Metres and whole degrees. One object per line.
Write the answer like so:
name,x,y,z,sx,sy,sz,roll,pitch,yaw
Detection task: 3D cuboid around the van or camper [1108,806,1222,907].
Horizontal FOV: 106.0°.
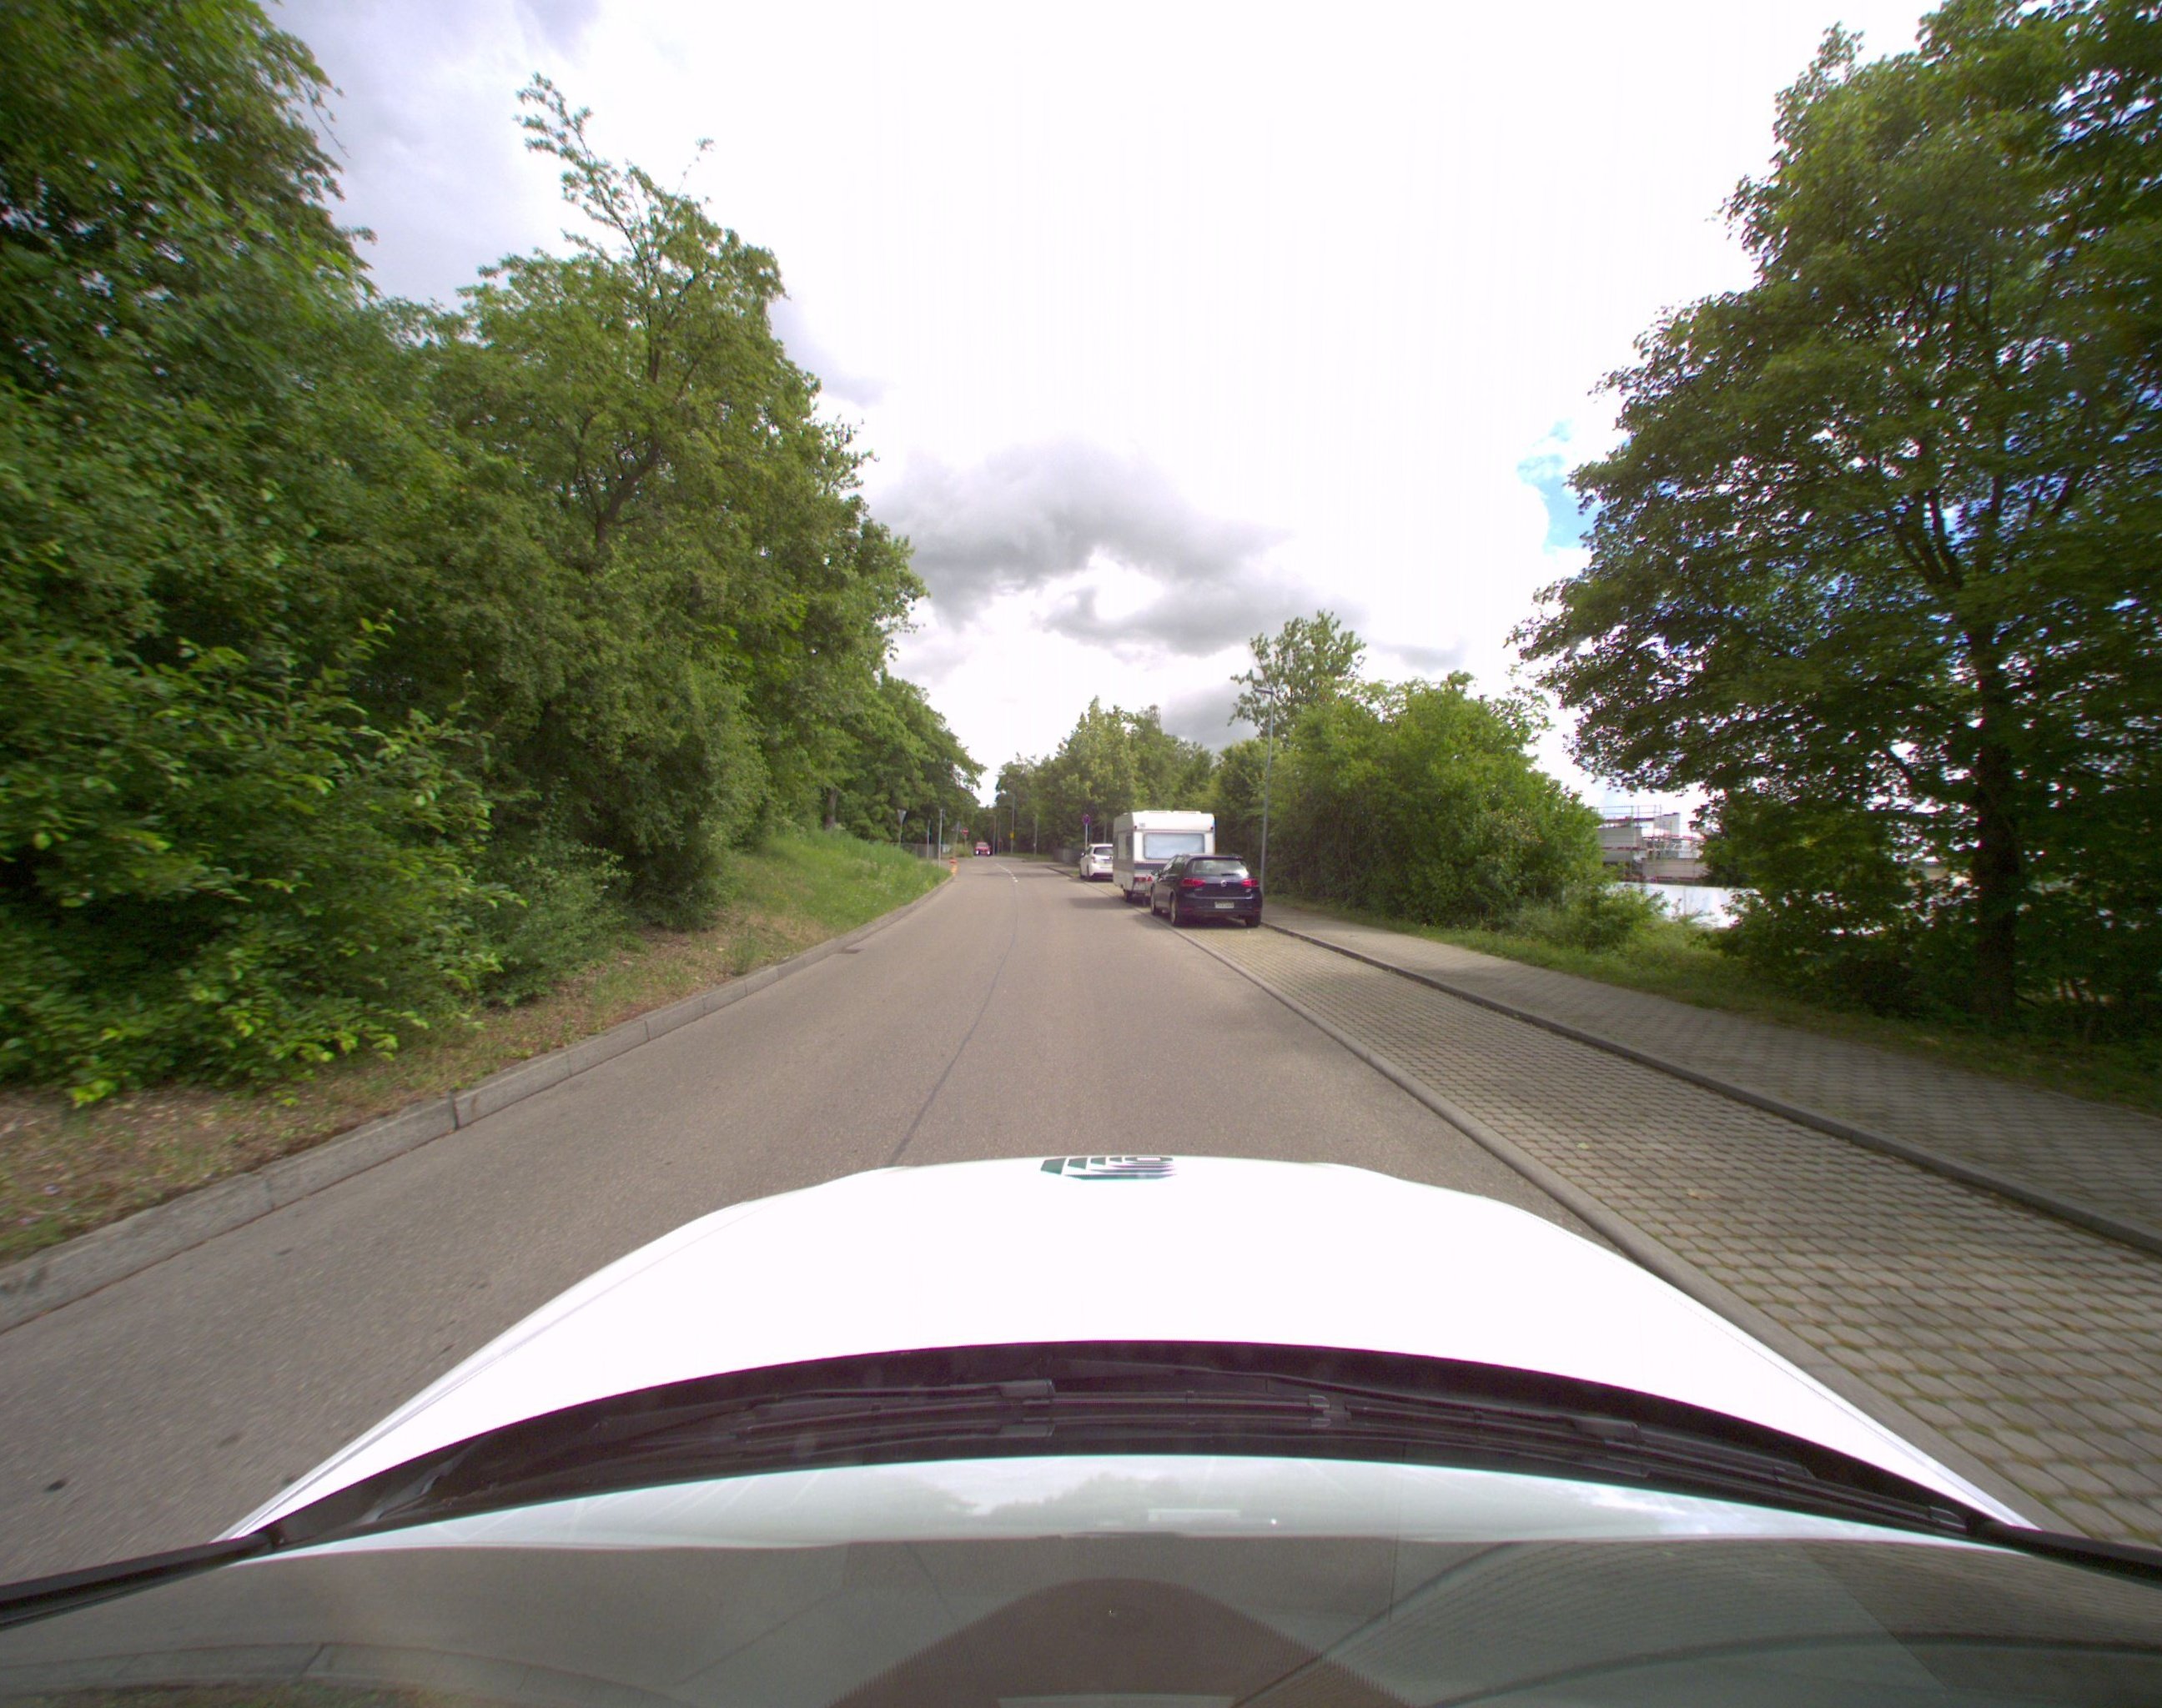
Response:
van or camper,2.227,0.051,23.267,2.351,2.553,5.065,0,0,-5

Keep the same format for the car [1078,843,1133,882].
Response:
car,1.019,0.338,36.096,1.803,1.599,4.362,0,1,-7

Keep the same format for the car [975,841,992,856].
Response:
car,-11.903,-0.663,99.089,1.843,1.658,4.208,1,1,-10

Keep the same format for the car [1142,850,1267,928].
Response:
car,2.513,0.648,17.661,1.679,1.451,4.472,1,0,-5

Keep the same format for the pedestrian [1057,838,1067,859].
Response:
pedestrian,-1.666,-0.496,72.806,0.581,1.783,0.686,1,-3,24
